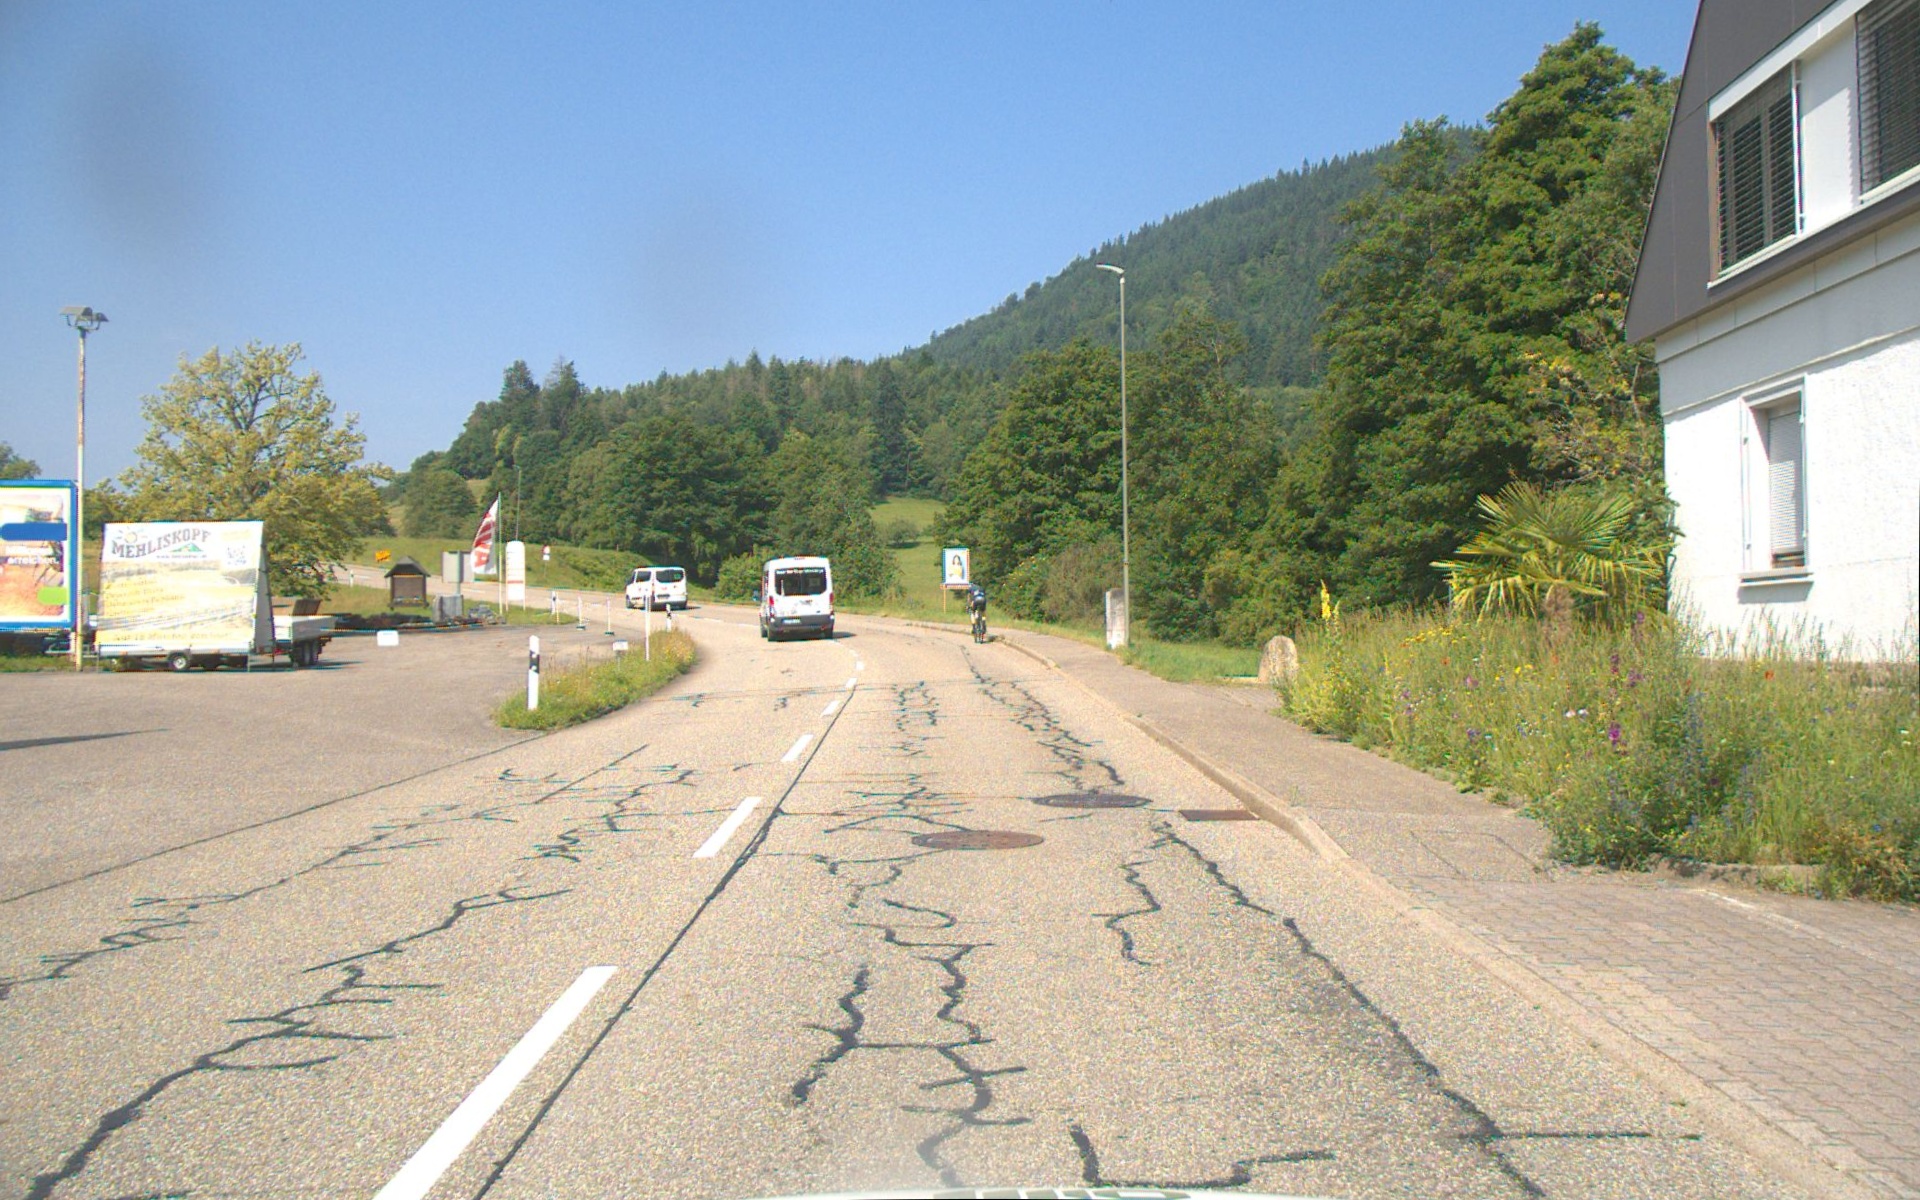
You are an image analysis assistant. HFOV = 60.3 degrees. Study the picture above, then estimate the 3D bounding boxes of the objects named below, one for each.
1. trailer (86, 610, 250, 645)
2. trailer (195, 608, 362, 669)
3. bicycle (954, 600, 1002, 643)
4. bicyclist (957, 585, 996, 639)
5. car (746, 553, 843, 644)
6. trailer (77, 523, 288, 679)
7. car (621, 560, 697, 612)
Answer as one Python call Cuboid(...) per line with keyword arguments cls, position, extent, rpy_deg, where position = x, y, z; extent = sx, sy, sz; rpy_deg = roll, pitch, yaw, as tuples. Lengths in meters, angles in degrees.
Cuboid(cls="trailer", position=(-23.127, 0.809, 48.409), extent=(3.855, 0.956, 1.866), rpy_deg=(1, -1, -4))
Cuboid(cls="trailer", position=(-15.179, 0.826, 37.188), extent=(1.955, 1.248, 5.539), rpy_deg=(1, -1, -6))
Cuboid(cls="bicycle", position=(0.460, 0.547, 43.603), extent=(0.571, 1.053, 1.979), rpy_deg=(-4, 1, -20))
Cuboid(cls="bicyclist", position=(0.431, 0.314, 43.609), extent=(0.571, 1.365, 1.138), rpy_deg=(-4, 1, -20))
Cuboid(cls="car", position=(-5.224, -0.104, 51.539), extent=(2.185, 2.569, 4.967), rpy_deg=(-4, 2, -14))
Cuboid(cls="trailer", position=(-15.317, 0.026, 32.751), extent=(3.328, 2.963, 1.880), rpy_deg=(1, 0, -9))
Cuboid(cls="car", position=(-14.538, -0.683, 79.702), extent=(2.196, 2.326, 4.942), rpy_deg=(-4, 2, -26))
